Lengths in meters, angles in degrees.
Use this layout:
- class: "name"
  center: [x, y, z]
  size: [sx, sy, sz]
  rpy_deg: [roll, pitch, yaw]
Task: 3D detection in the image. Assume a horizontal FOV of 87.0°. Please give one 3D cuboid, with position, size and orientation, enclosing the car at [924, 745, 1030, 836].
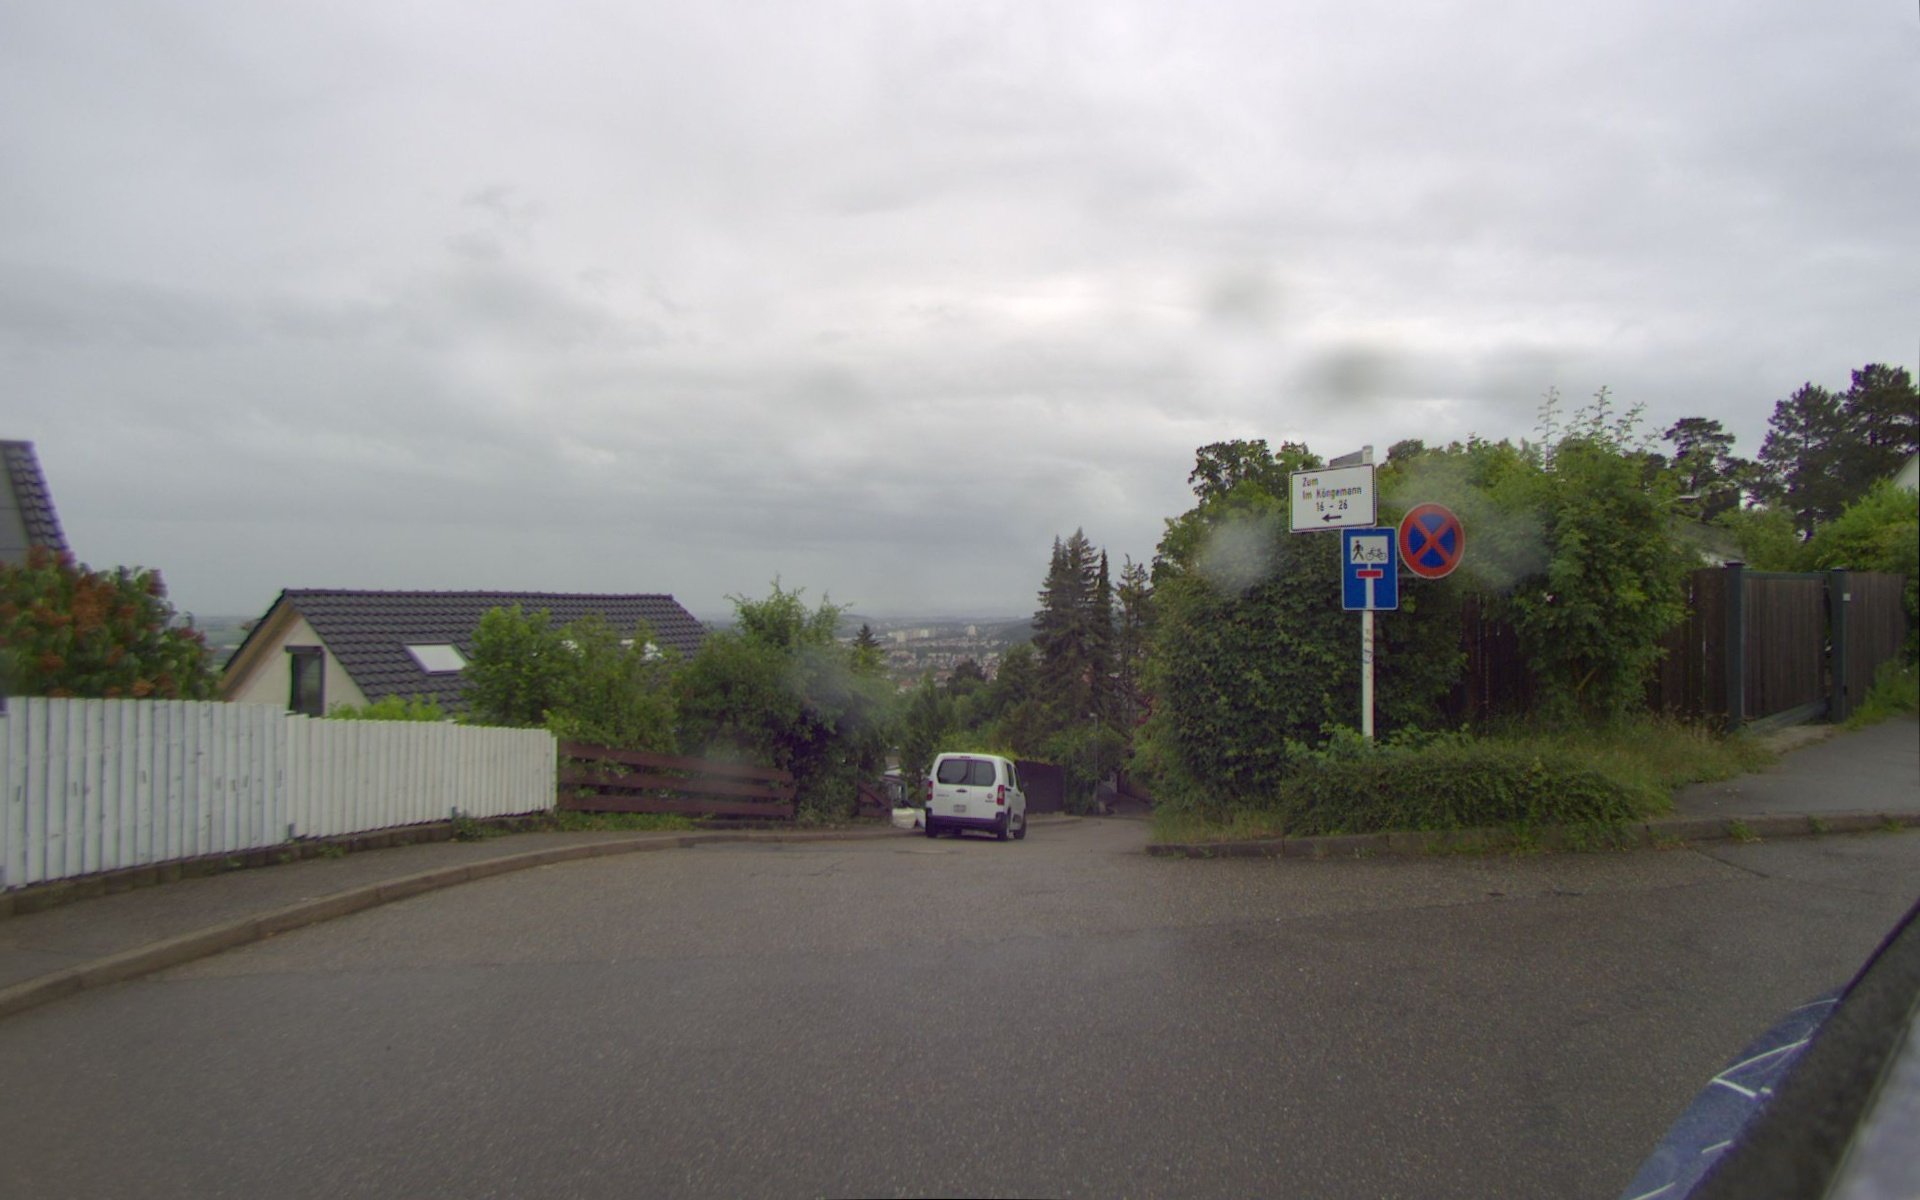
- class: "car"
  center: [0.484, 4.295, 22.641]
  size: [1.726, 1.766, 3.982]
  rpy_deg: [0, -12, 10]
